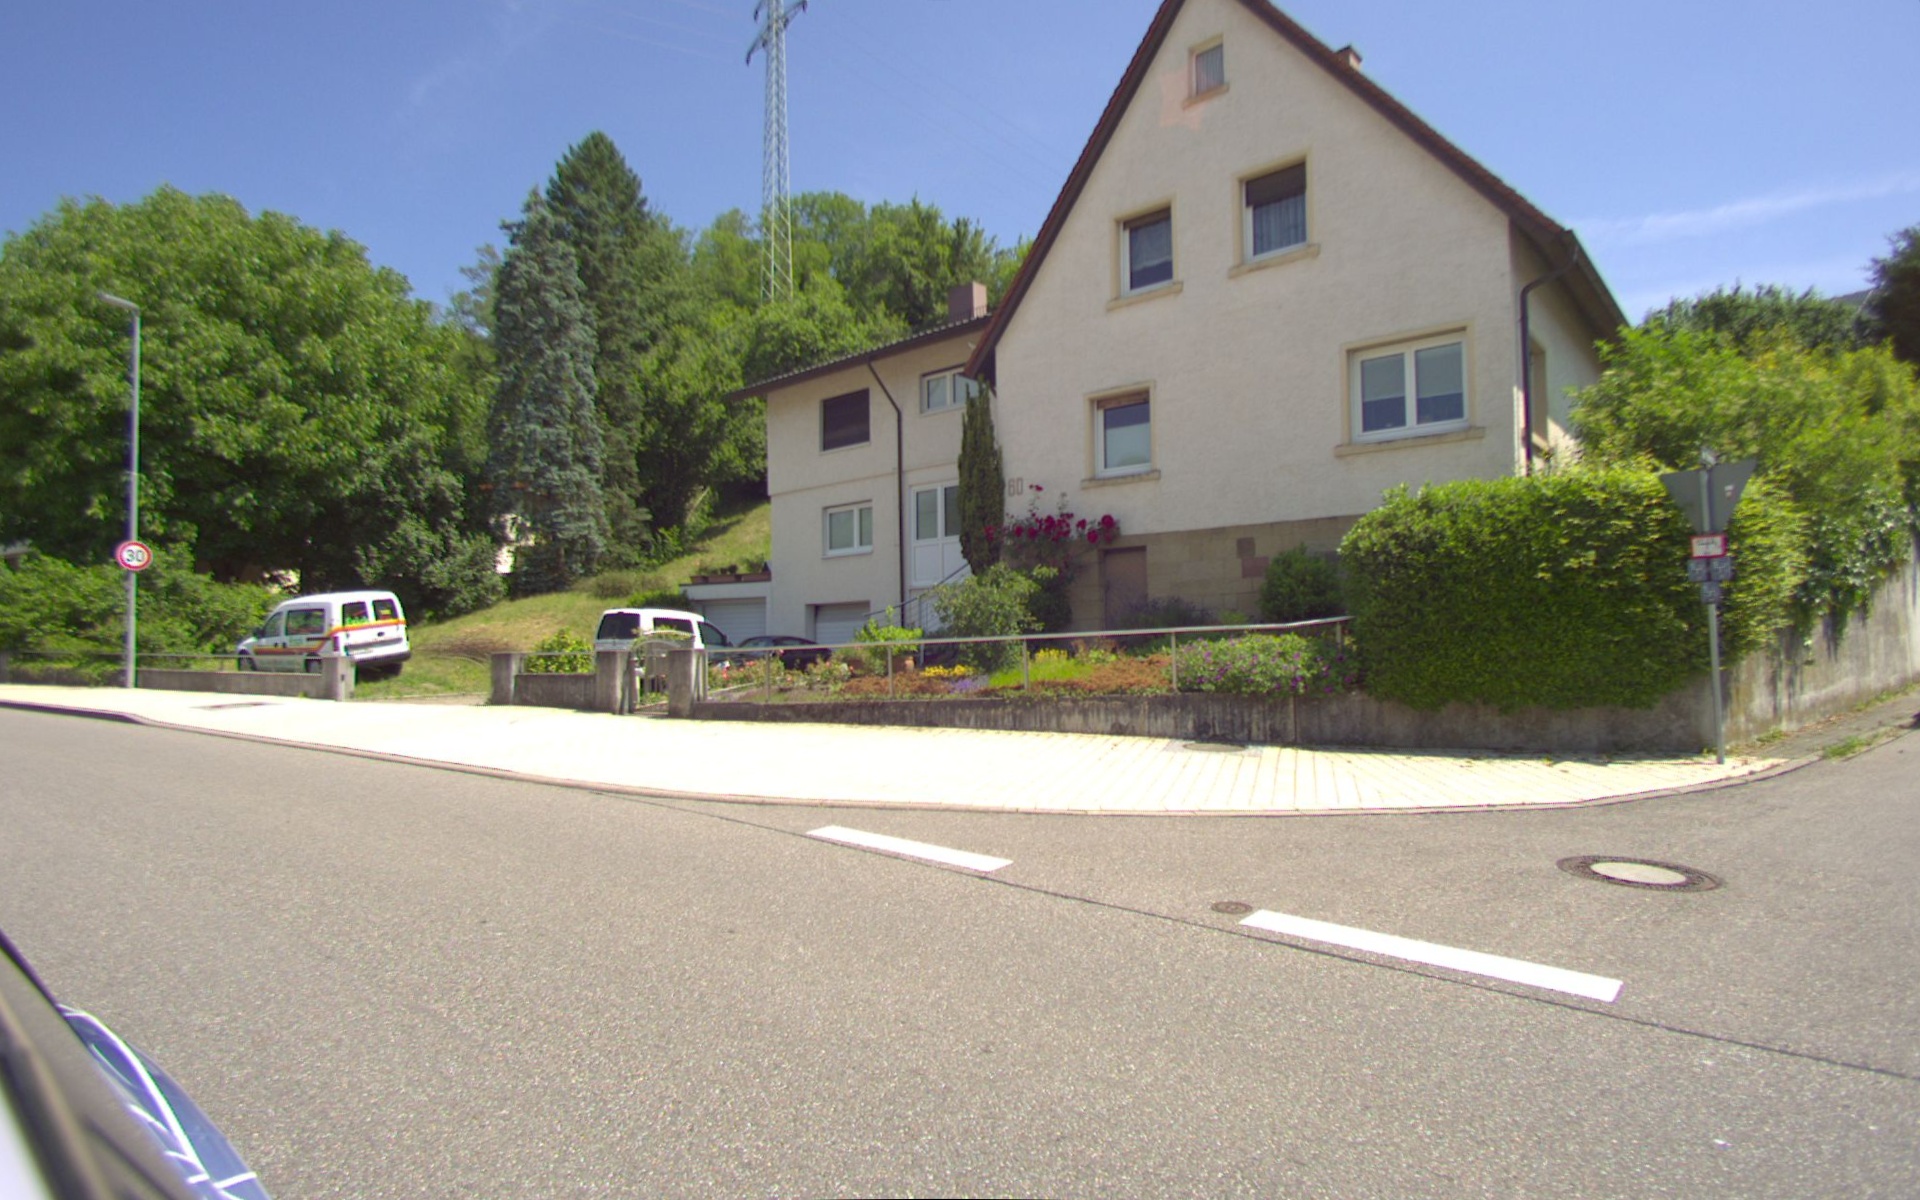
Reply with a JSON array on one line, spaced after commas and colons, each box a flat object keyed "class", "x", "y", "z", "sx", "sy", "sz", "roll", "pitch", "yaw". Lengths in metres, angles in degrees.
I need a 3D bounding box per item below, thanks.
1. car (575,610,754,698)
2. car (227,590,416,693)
[{"class": "car", "x": -6.763, "y": 1.277, "z": 23.567, "sx": 1.801, "sy": 1.803, "sz": 3.965, "roll": -5, "pitch": -5, "yaw": 25}, {"class": "car", "x": -13.347, "y": 0.832, "z": 21.121, "sx": 3.984, "sy": 1.963, "sz": 1.687, "roll": -1, "pitch": -1, "yaw": 30}]
